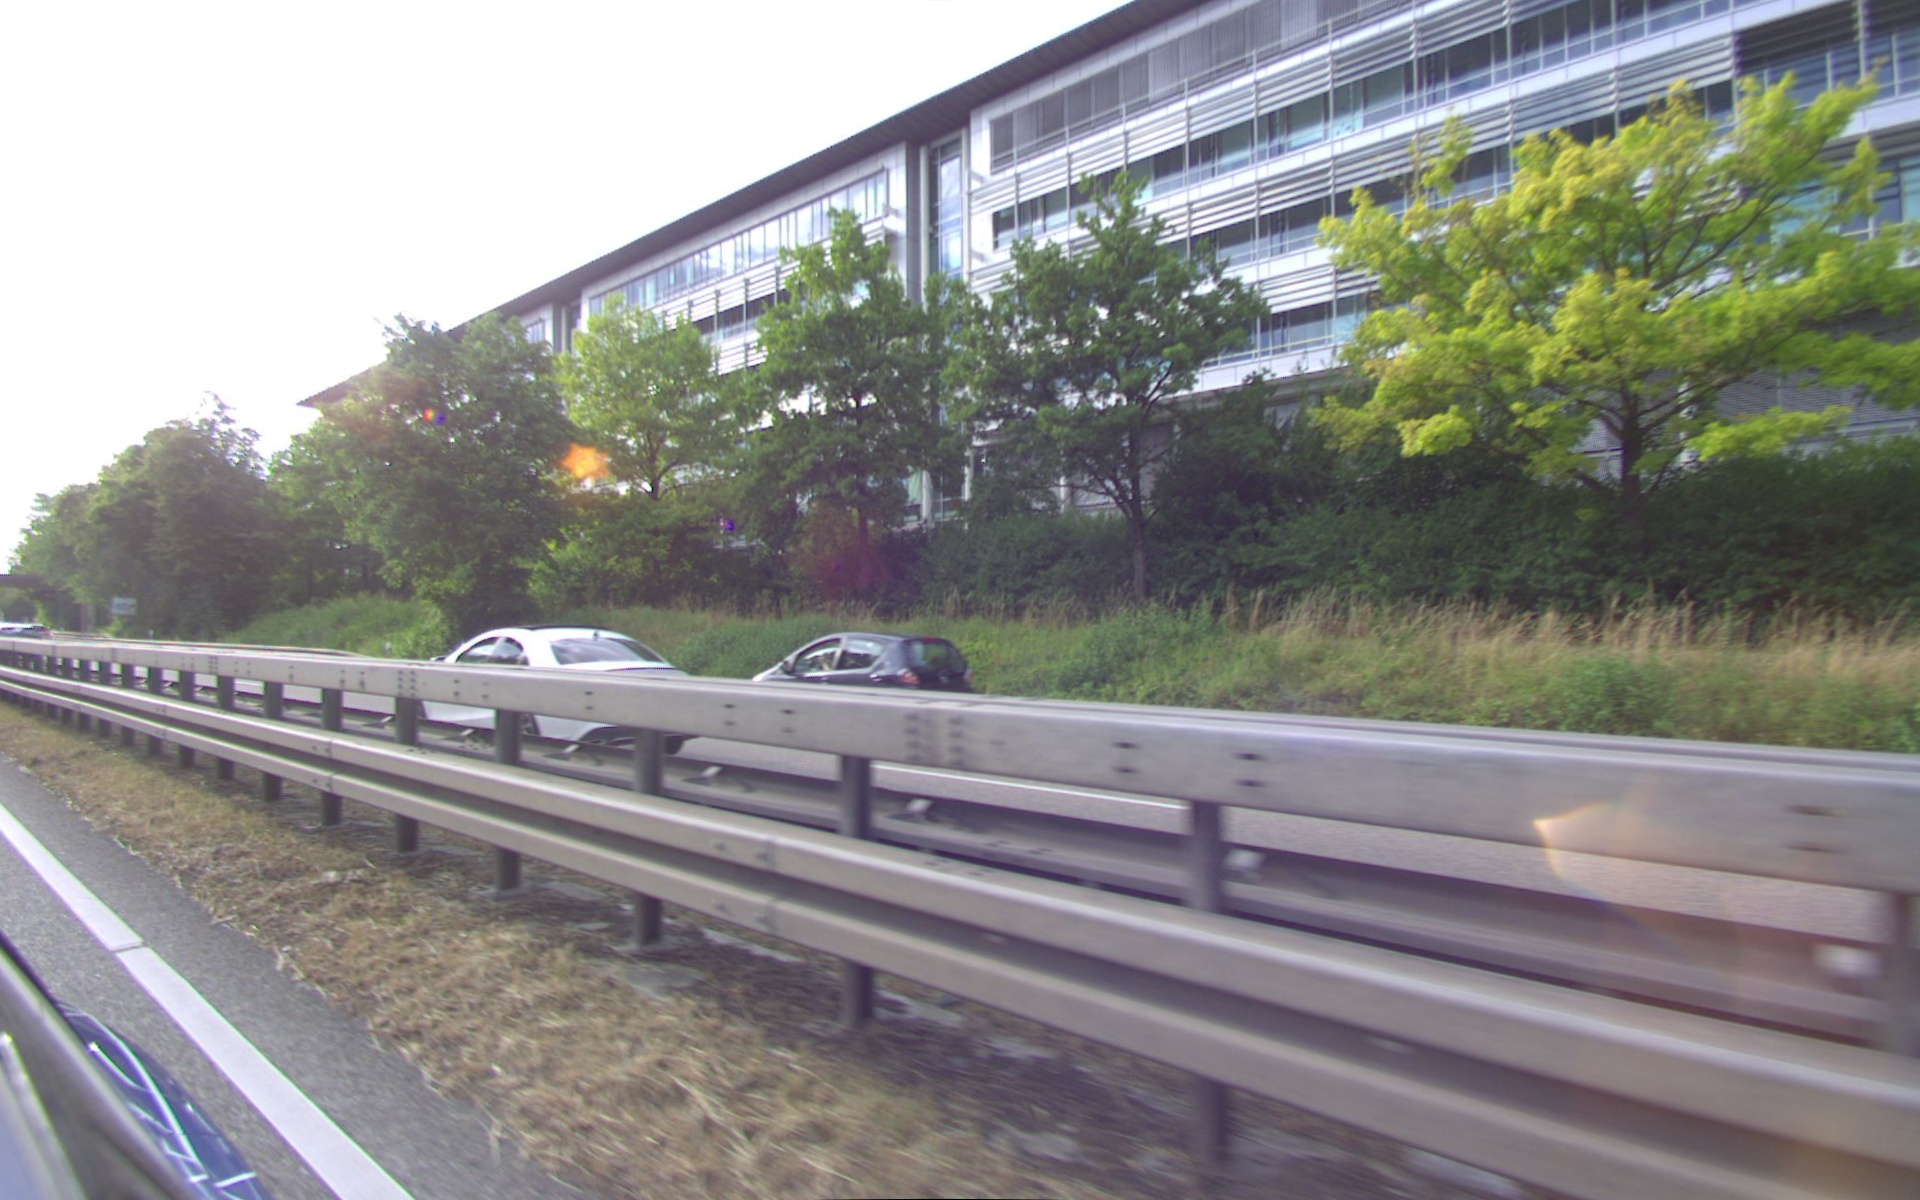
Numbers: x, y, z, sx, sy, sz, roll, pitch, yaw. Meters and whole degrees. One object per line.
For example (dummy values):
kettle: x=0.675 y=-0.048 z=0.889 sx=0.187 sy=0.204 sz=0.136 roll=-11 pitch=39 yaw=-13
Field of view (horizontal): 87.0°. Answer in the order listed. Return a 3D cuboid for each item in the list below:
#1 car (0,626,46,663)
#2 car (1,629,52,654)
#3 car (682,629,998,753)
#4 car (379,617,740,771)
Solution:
car: x=-39.105 y=1.794 z=41.557 sx=4.308 sy=1.469 sz=1.725 roll=-1 pitch=-3 yaw=40
car: x=-59.345 y=2.635 z=64.310 sx=4.414 sy=1.496 sz=1.798 roll=-2 pitch=-5 yaw=40
car: x=-1.787 y=1.159 z=13.977 sx=4.564 sy=1.433 sz=1.738 roll=-2 pitch=-5 yaw=42
car: x=-4.629 y=0.948 z=11.354 sx=4.563 sy=1.389 sz=1.816 roll=-2 pitch=-4 yaw=40
